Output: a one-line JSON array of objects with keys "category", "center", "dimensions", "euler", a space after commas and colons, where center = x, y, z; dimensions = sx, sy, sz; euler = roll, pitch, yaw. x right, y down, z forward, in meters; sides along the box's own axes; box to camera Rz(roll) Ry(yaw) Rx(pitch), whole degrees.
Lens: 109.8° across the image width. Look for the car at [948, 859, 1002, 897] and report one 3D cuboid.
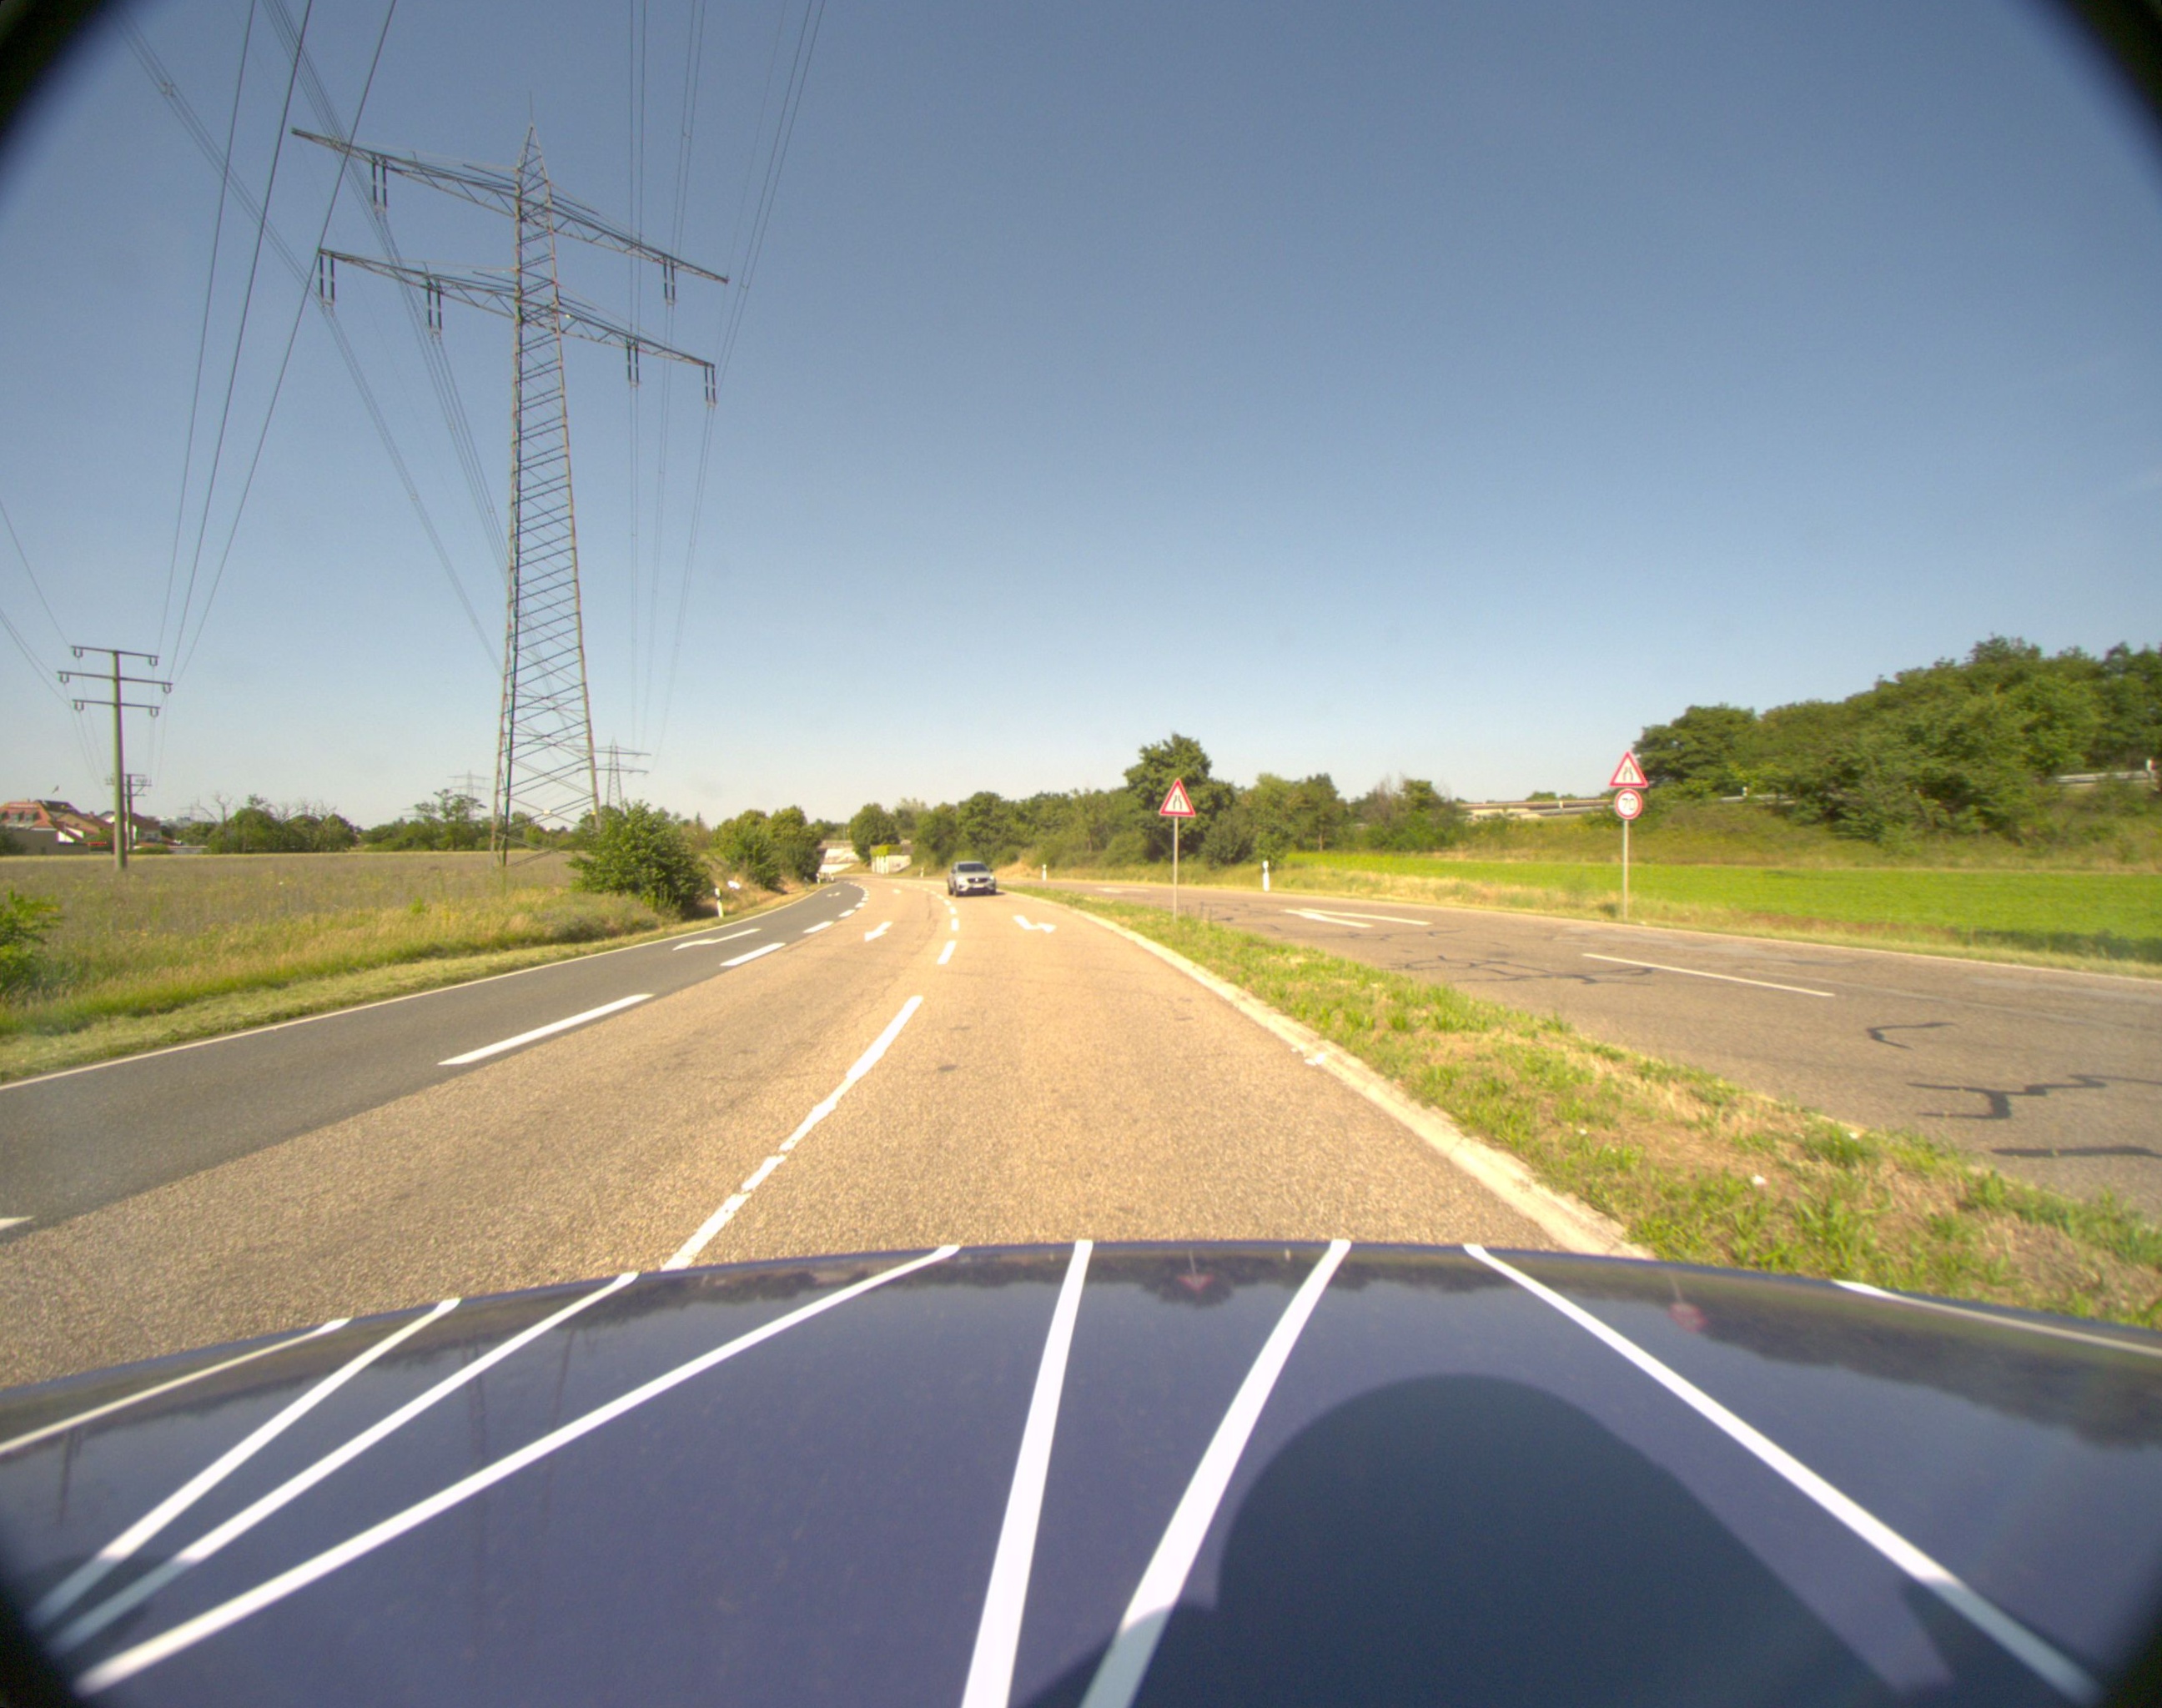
[{"category": "car", "center": [-5.072, 1.097, 36.013], "dimensions": [1.862, 1.609, 3.642], "euler": [-2, 0, -19]}]
